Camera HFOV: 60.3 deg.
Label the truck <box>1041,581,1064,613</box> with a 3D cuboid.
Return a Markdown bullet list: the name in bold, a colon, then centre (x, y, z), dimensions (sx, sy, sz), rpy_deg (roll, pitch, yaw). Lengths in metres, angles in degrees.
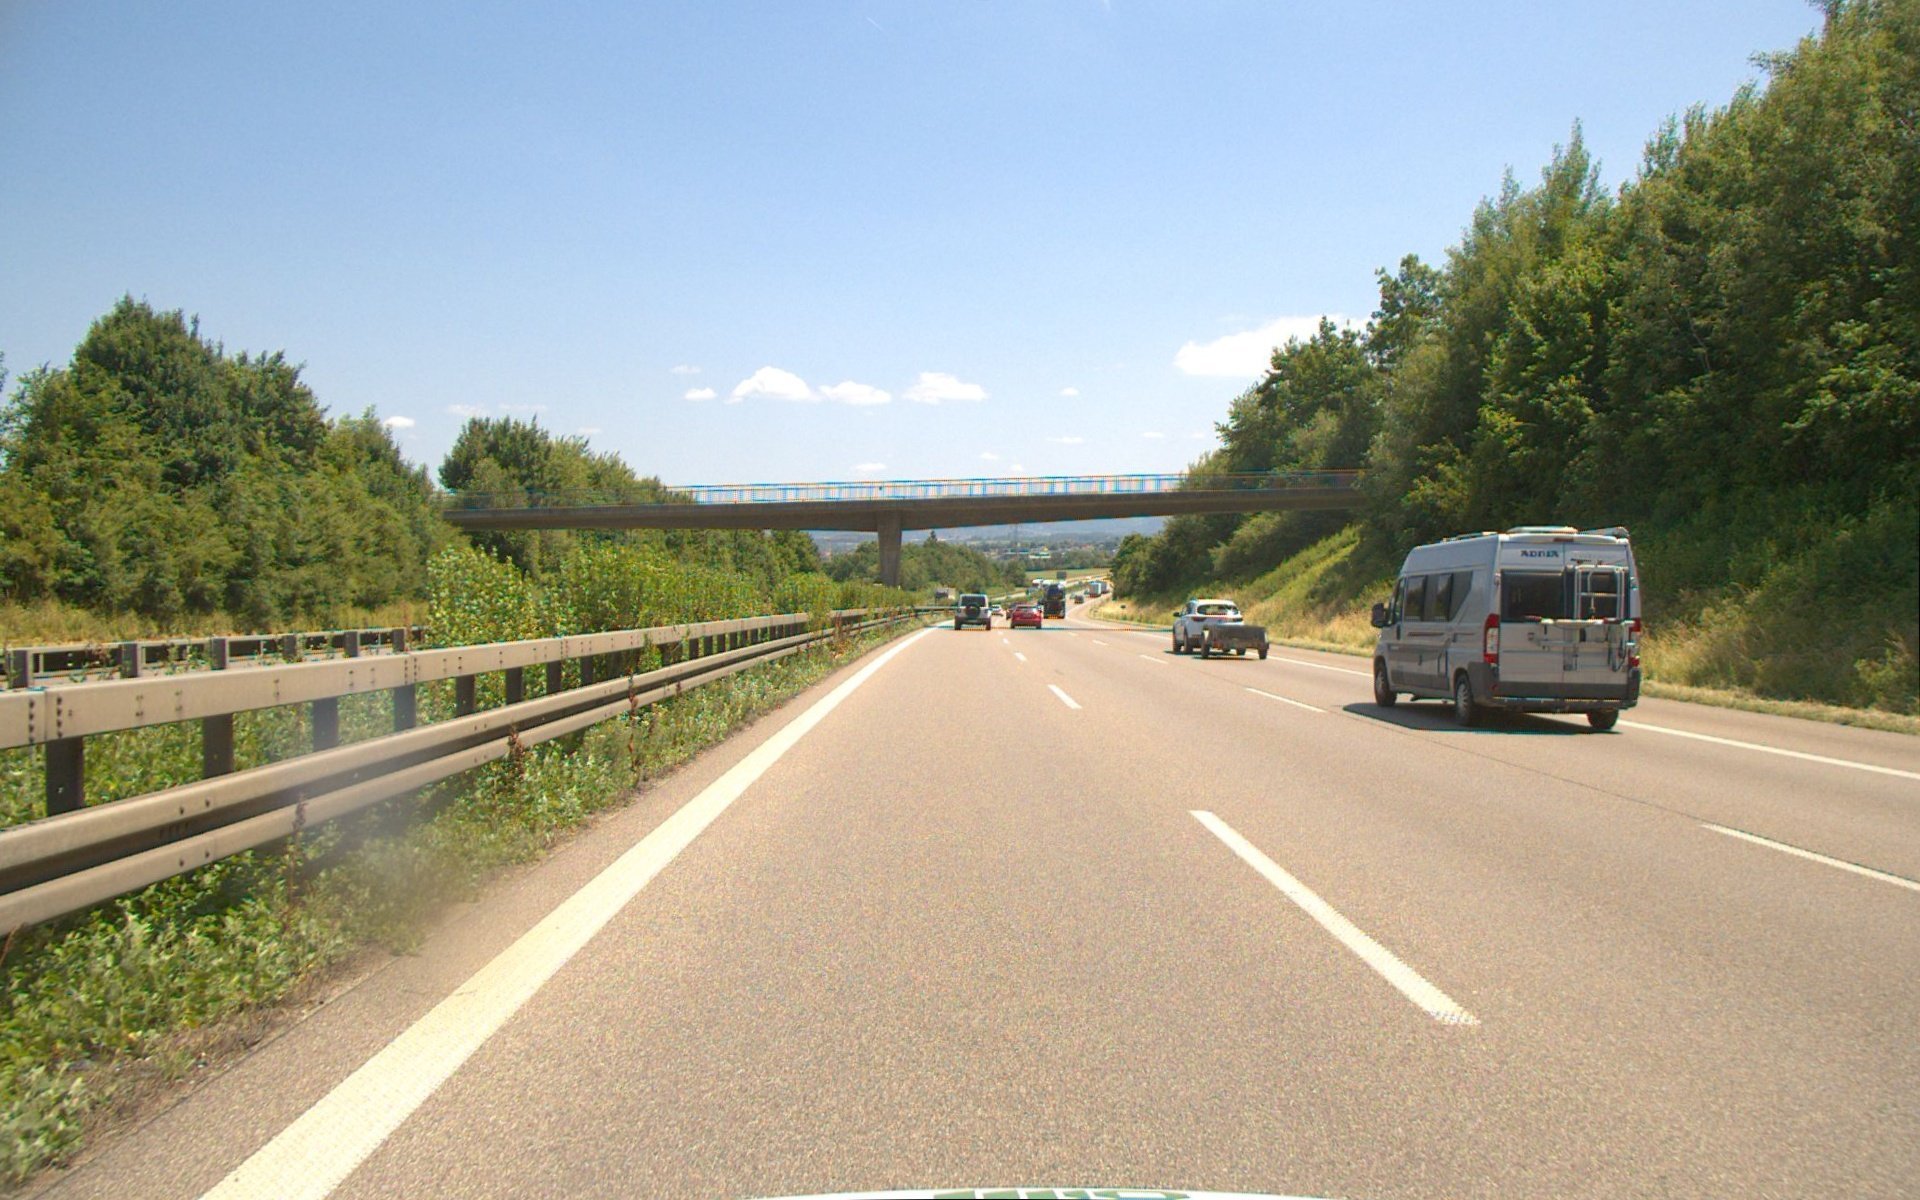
- **truck**: centre (11.611, -0.428, 207.453), dimensions (2.696, 3.920, 6.647), rpy_deg (1, 1, 3)

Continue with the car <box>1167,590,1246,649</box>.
- **car**: centre (7.654, 0.570, 51.724), dimensions (1.745, 1.679, 4.403), rpy_deg (1, 1, -1)

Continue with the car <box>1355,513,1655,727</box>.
- **car**: centre (7.526, 0.189, 23.750), dimensions (2.047, 2.621, 6.622), rpy_deg (1, 1, -1)

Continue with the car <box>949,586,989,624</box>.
- **car**: centre (0.461, 0.241, 87.409), dimensions (2.041, 1.861, 4.754), rpy_deg (1, 1, 0)

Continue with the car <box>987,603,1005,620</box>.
- **car**: centre (4.670, 1.460, 214.621), dimensions (1.661, 2.048, 3.826), rpy_deg (1, 1, 10)

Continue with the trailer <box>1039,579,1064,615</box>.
- **trailer**: centre (11.118, -0.433, 199.650), dimensions (2.795, 4.063, 15.405), rpy_deg (1, 1, 4)

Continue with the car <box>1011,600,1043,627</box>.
- **car**: centre (3.889, 0.778, 96.474), dimensions (1.652, 1.403, 3.948), rpy_deg (1, 1, -1)

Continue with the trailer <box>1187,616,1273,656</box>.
- **trailer**: centre (7.672, 1.007, 47.356), dimensions (1.718, 0.924, 4.319), rpy_deg (1, 1, -1)
